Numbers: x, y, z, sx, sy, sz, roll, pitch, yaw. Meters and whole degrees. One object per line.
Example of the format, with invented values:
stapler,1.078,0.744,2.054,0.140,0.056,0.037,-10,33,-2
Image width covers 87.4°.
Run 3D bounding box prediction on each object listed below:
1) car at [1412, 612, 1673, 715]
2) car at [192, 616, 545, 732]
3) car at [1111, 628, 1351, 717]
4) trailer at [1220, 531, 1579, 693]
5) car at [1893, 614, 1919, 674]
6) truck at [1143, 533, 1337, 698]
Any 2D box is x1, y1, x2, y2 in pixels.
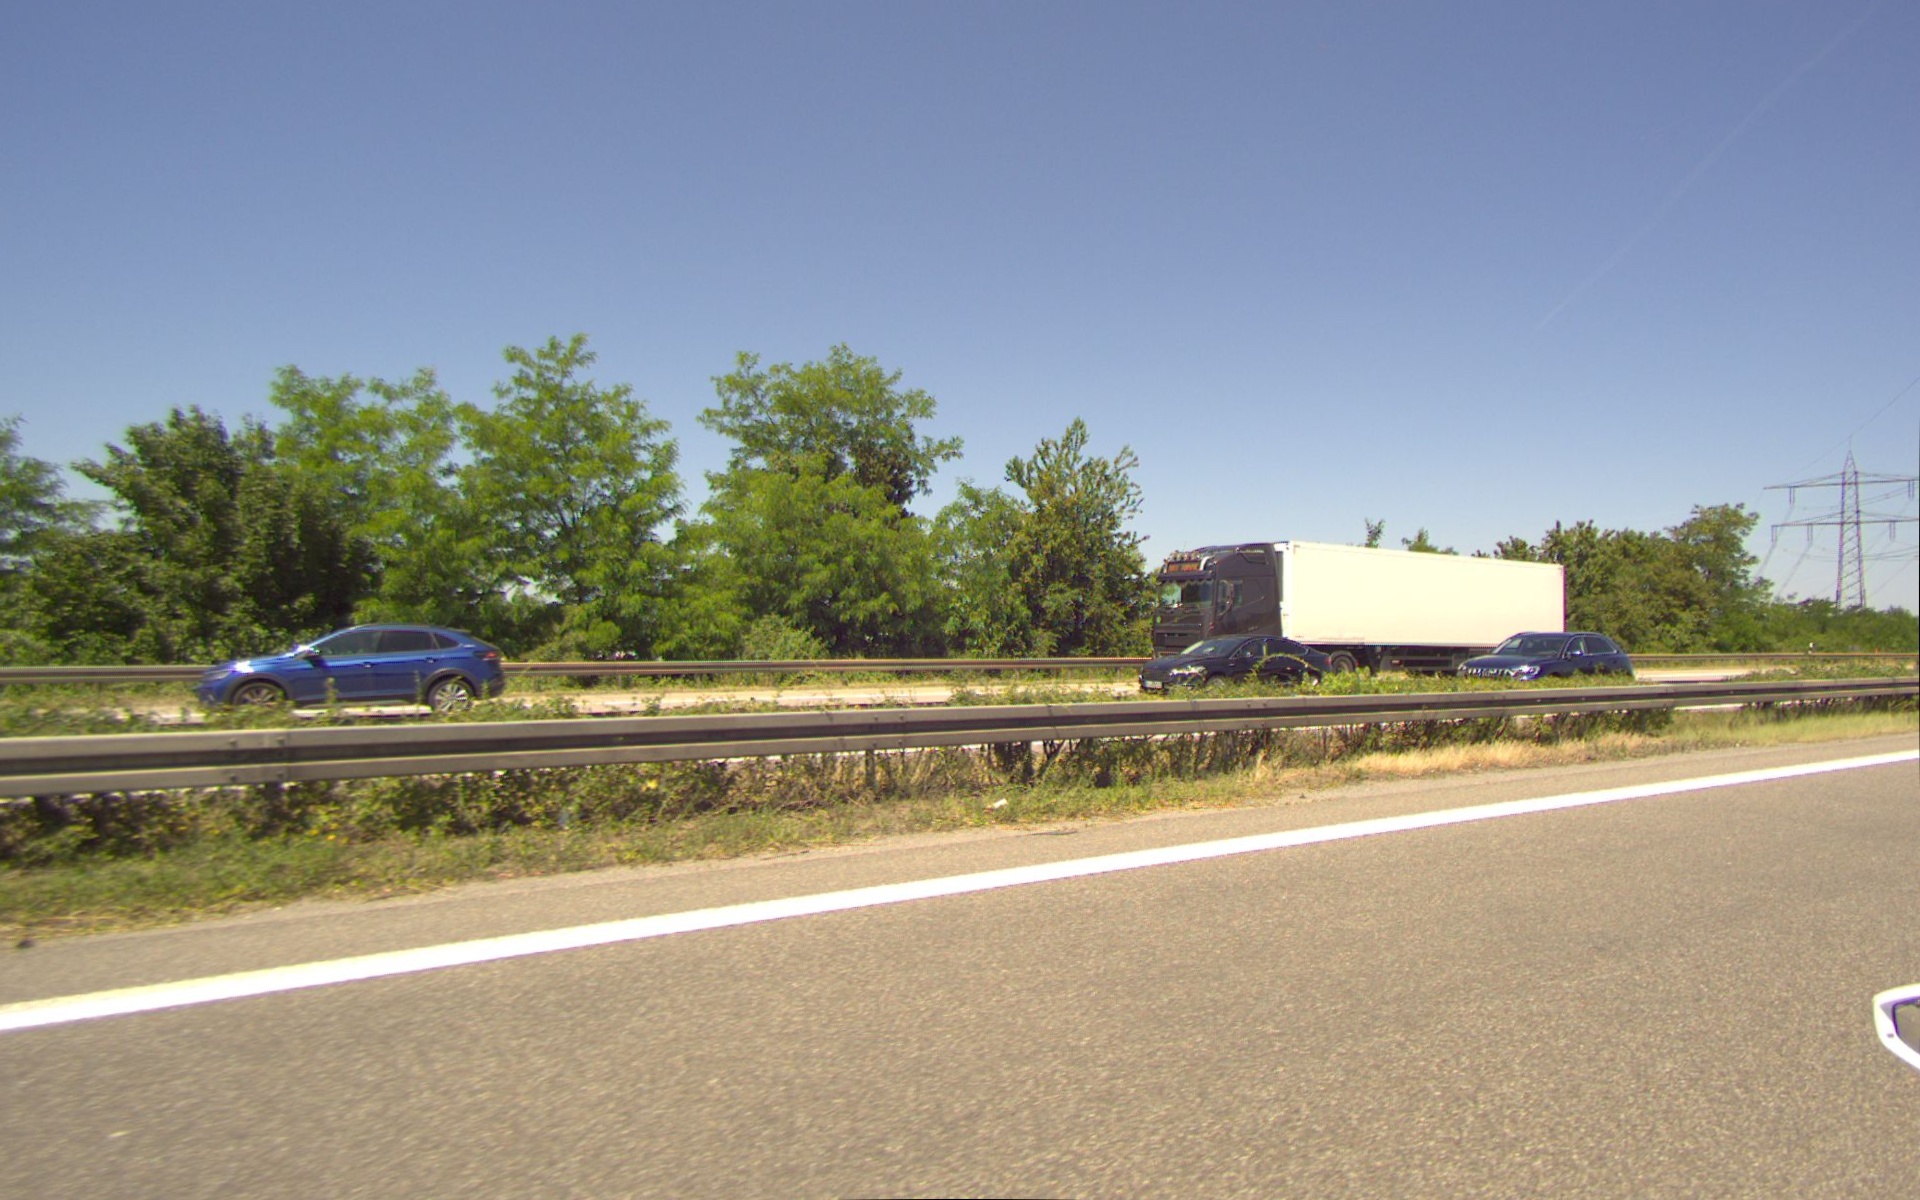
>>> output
car,12.816,1.302,22.010,5.672,1.957,2.470,1,0,-31
car,-9.565,1.151,16.662,4.695,1.658,2.471,1,-3,-30
car,5.895,1.487,21.789,4.763,1.662,2.375,1,0,-30
trailer,14.284,0.455,31.583,14.264,4.347,2.411,1,0,-31
car,45.253,2.027,45.492,7.038,2.614,2.470,1,0,-31
truck,7.743,0.428,27.701,4.863,4.166,2.411,1,0,-31
